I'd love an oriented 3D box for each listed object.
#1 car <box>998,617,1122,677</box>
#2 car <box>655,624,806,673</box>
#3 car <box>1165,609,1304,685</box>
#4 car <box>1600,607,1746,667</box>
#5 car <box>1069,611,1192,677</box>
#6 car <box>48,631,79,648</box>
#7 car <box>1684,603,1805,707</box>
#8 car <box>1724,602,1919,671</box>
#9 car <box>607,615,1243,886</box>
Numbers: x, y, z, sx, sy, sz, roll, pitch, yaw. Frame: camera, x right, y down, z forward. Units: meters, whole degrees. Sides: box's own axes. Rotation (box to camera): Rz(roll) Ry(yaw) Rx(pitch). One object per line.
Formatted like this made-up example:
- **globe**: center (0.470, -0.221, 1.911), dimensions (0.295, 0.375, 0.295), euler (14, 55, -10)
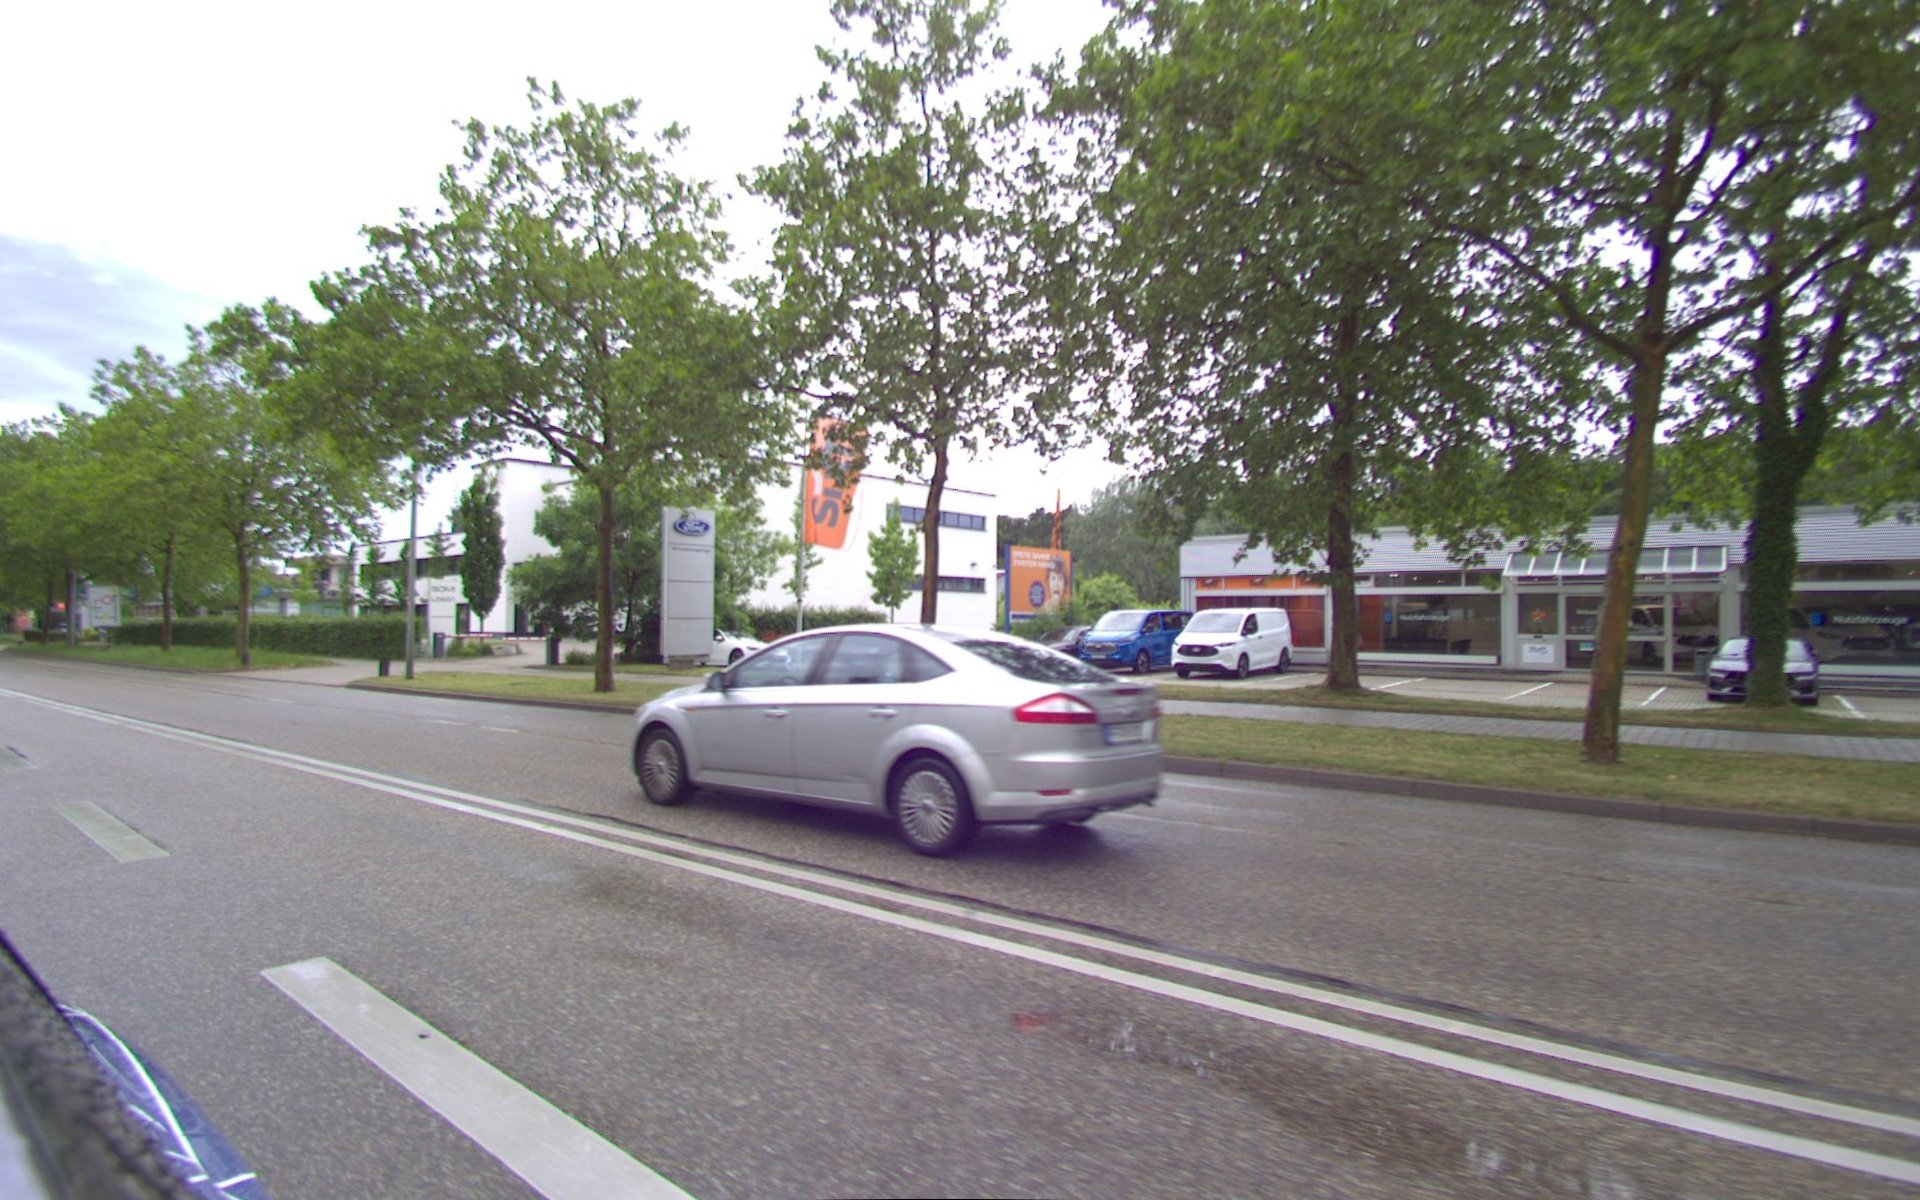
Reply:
- **car**: center (3.320, 1.496, 33.143), dimensions (2.065, 1.827, 4.083), euler (-2, -2, 41)
- **car**: center (-7.602, 1.558, 33.205), dimensions (5.242, 1.507, 2.097), euler (-2, -3, 40)
- **car**: center (8.138, 1.327, 29.694), dimensions (2.127, 2.029, 4.996), euler (-2, -2, 38)
- **car**: center (22.516, 1.118, 32.154), dimensions (1.886, 1.757, 3.885), euler (-1, 0, 1)
- **car**: center (5.332, 1.335, 31.346), dimensions (1.962, 1.904, 3.945), euler (-2, -2, 41)
- **car**: center (-86.190, 3.785, 97.248), dimensions (3.999, 1.545, 1.723), euler (-1, -4, 42)
- **car**: center (17.009, 1.137, 21.984), dimensions (1.880, 2.029, 3.949), euler (-2, -2, 38)
- **car**: center (25.438, 1.036, 30.035), dimensions (2.367, 1.852, 5.328), euler (-1, -1, 13)
- **car**: center (-0.482, 0.889, 7.669), dimensions (4.680, 1.440, 1.974), euler (-2, -3, 39)
